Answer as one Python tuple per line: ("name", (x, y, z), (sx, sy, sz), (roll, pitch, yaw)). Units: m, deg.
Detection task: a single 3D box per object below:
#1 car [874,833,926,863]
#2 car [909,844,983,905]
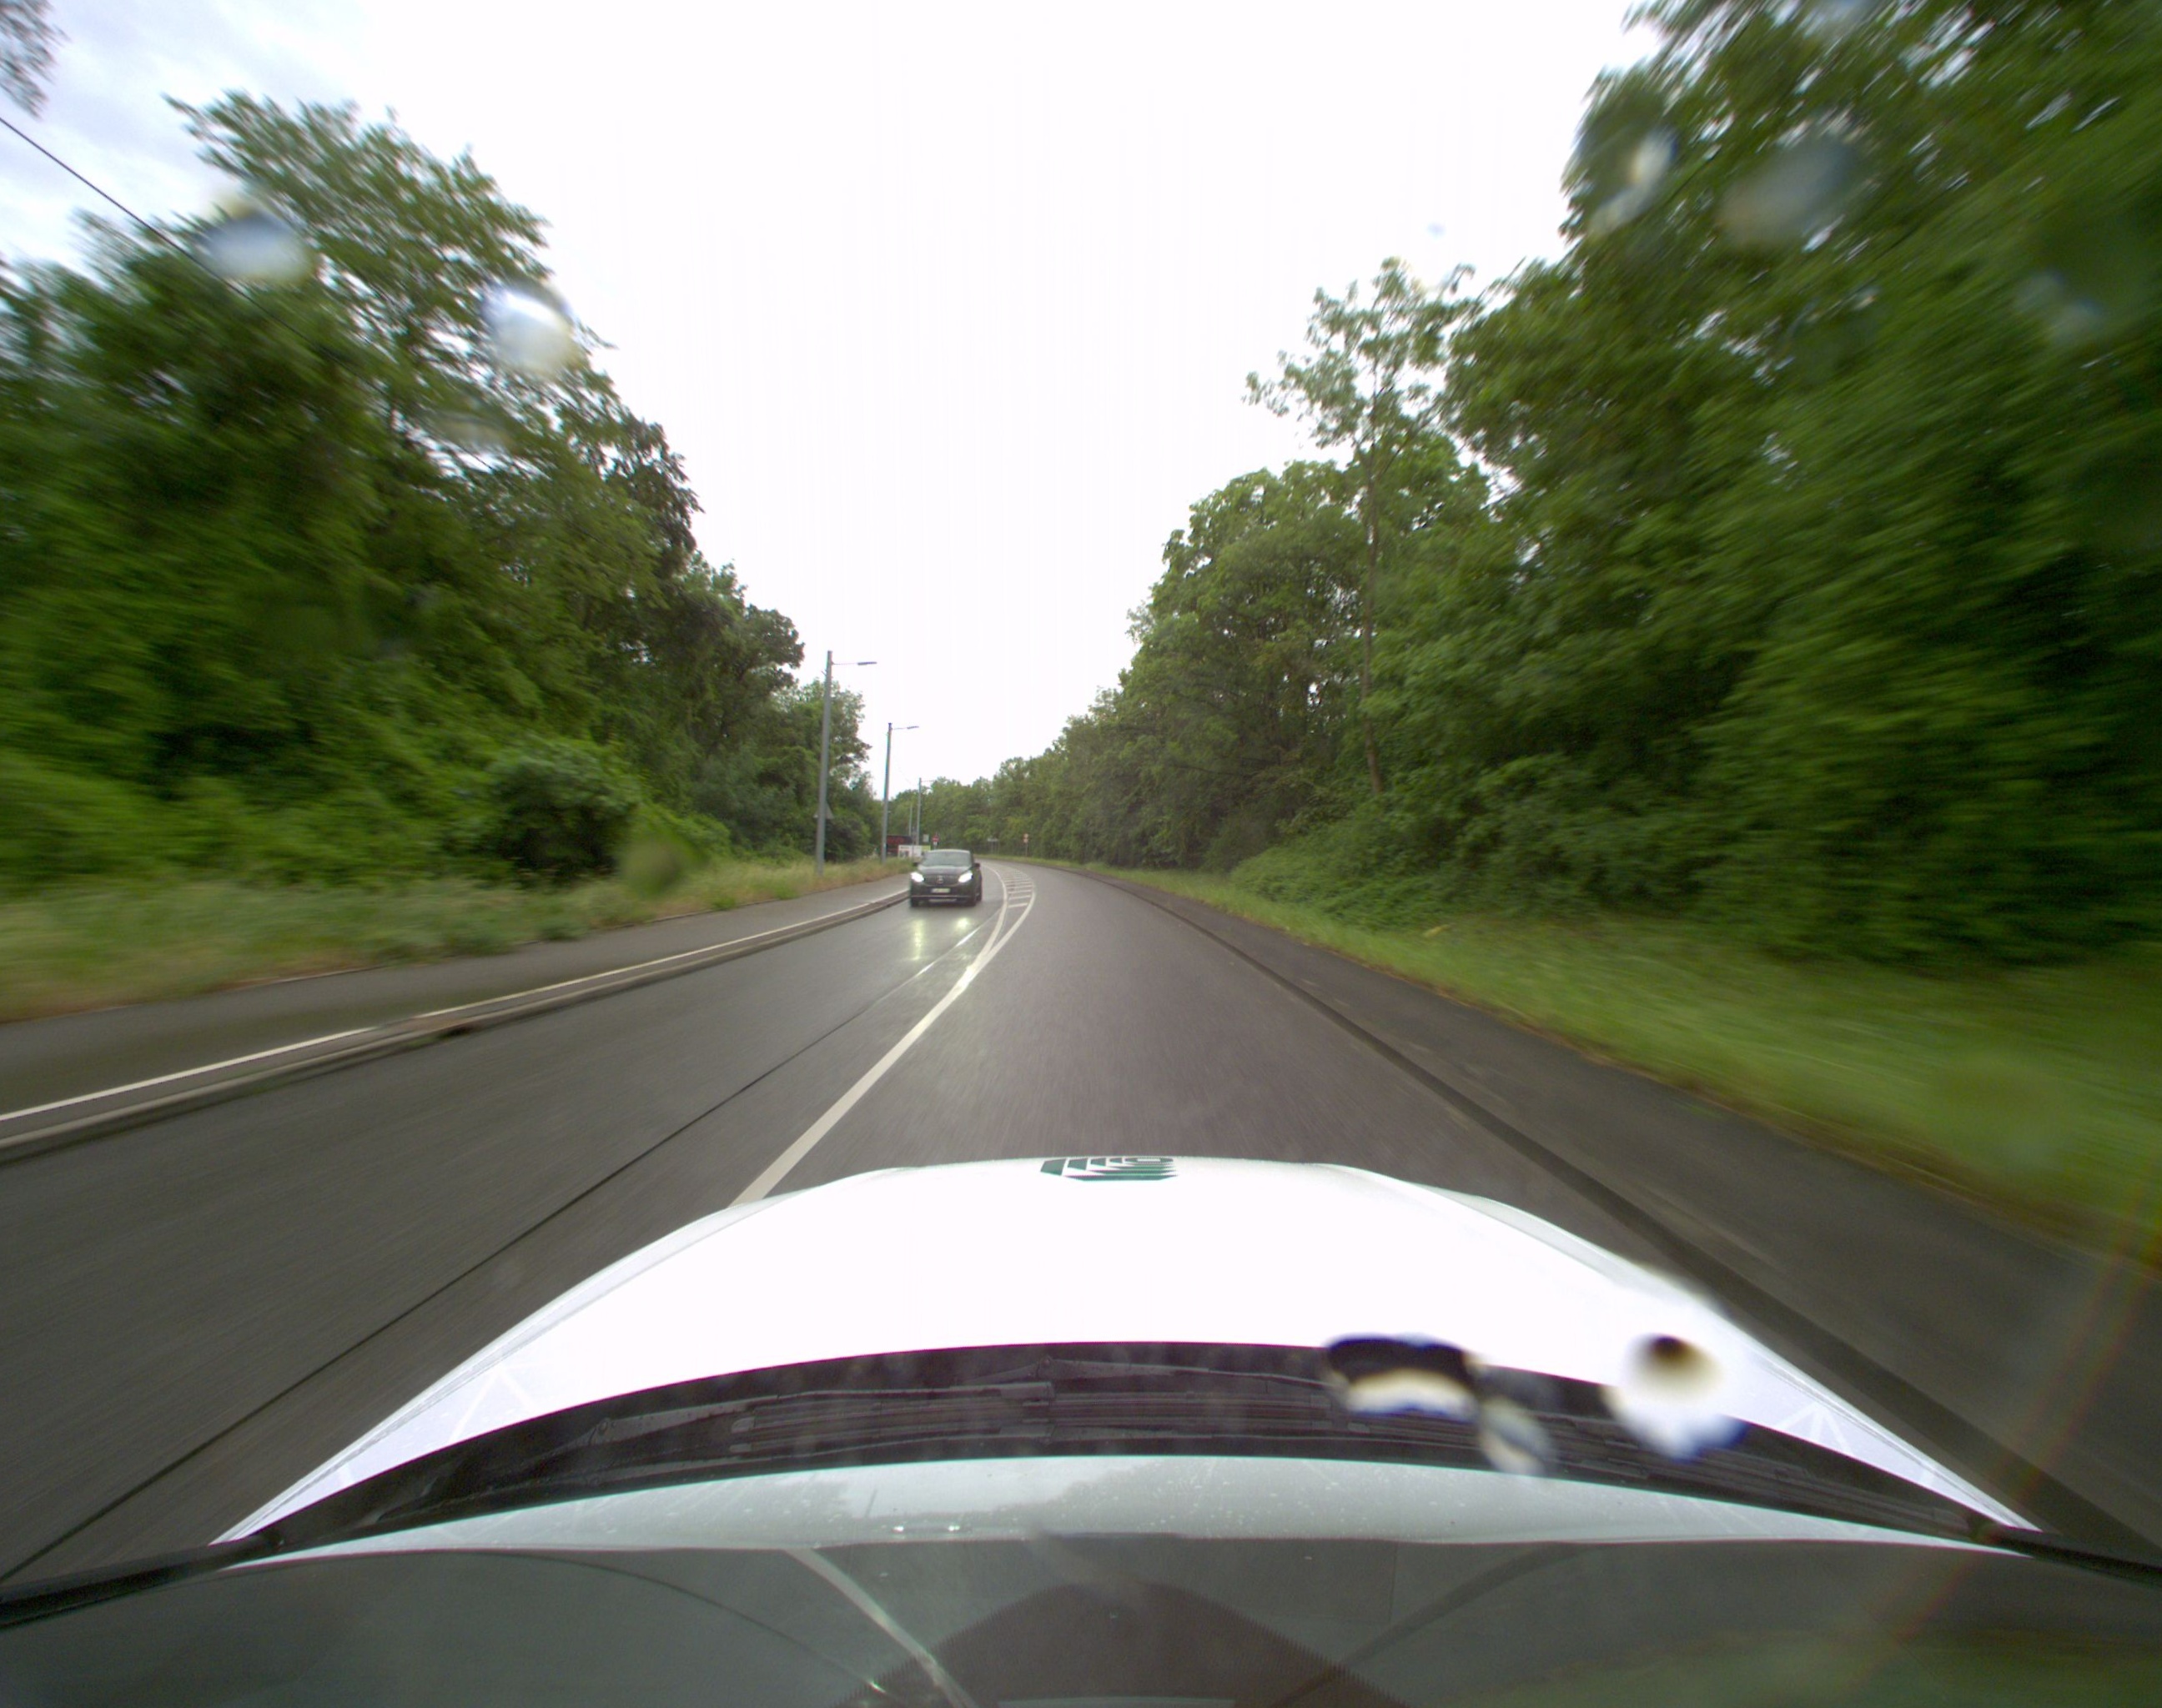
("car", (-21.879, -0.721, 98.270), (5.963, 3.502, 1.988), (0, 0, -18))
("car", (-4.251, 0.611, 26.320), (1.991, 1.787, 4.699), (0, 0, -5))
